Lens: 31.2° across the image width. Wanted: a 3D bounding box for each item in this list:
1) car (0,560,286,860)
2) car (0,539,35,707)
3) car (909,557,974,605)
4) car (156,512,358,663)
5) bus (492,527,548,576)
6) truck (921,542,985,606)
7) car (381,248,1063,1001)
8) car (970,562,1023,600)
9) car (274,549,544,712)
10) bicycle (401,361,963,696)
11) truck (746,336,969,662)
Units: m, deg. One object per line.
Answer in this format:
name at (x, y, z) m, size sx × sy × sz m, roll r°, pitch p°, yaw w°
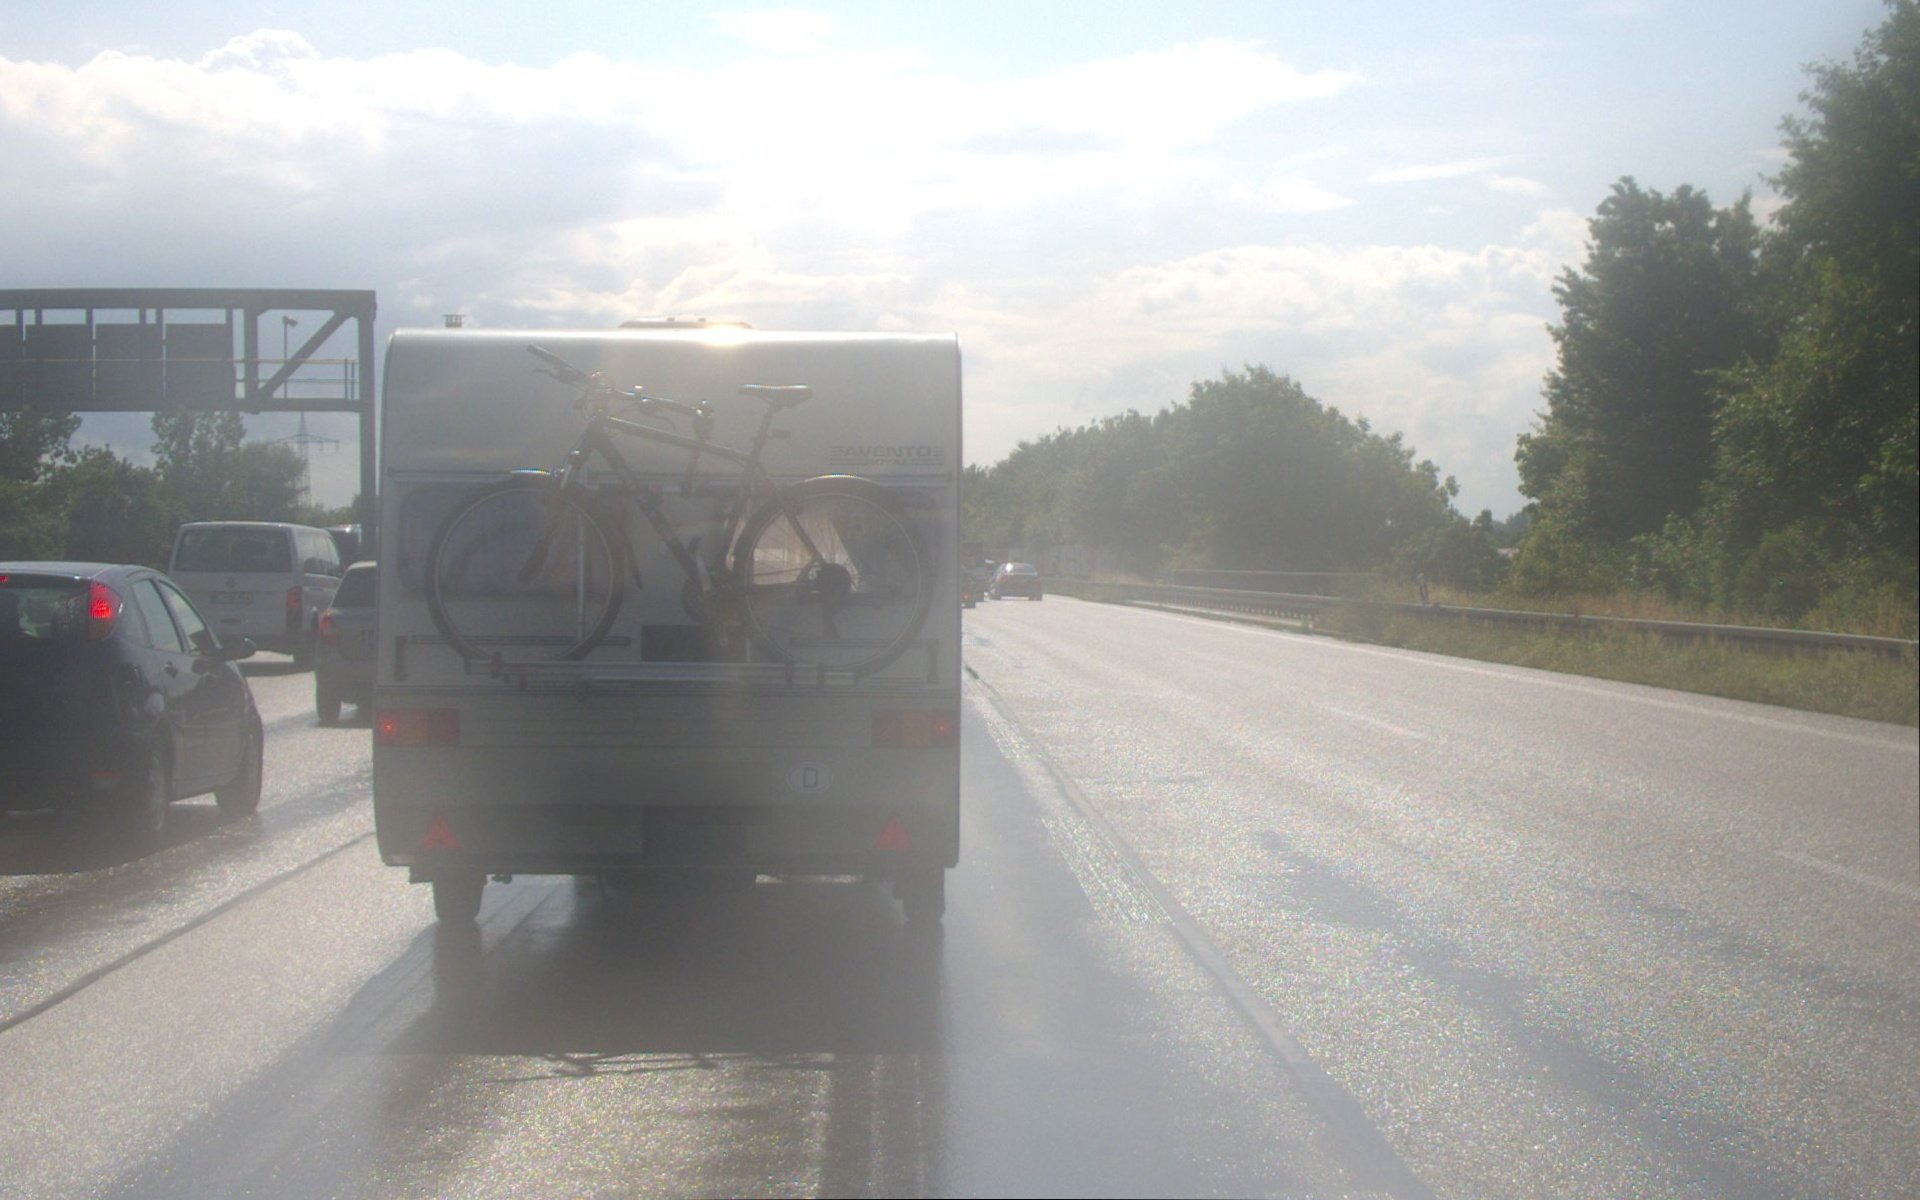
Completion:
car at (-4.943, 0.515, 18.780) m, size 1.758 × 1.438 × 4.000 m, roll 0°, pitch 1°, yaw 0°
car at (-9.861, 0.218, 31.626) m, size 1.783 × 1.573 × 3.916 m, roll 0°, pitch 1°, yaw -2°
car at (-0.634, -0.640, 115.408) m, size 1.835 × 1.552 × 4.001 m, roll 1°, pitch 0°, yaw -5°
car at (-9.488, -0.195, 46.743) m, size 1.847 × 1.927 × 5.017 m, roll 0°, pitch 1°, yaw -2°
bus at (-30.386, -3.322, 237.880) m, size 2.939 × 3.275 × 12.213 m, roll 0°, pitch 1°, yaw -3°
truck at (-0.296, -1.046, 134.103) m, size 2.415 × 2.435 × 6.053 m, roll 0°, pitch 1°, yaw 0°
car at (-0.866, 0.071, 14.302) m, size 2.410 × 2.665 × 4.000 m, roll 1°, pitch 0°, yaw 0°
car at (1.485, -0.794, 140.864) m, size 1.876 × 1.489 × 4.001 m, roll 1°, pitch 0°, yaw -3°
car at (-5.185, 0.245, 32.825) m, size 1.987 × 1.453 × 3.827 m, roll 0°, pitch 1°, yaw 0°
bicycle at (-0.963, -0.249, 12.100) m, size 1.934 × 1.137 × 0.384 m, roll 1°, pitch 0°, yaw 1°
truck at (-1.650, -1.493, 54.230) m, size 3.146 × 4.610 × 10.737 m, roll 0°, pitch 1°, yaw -2°
